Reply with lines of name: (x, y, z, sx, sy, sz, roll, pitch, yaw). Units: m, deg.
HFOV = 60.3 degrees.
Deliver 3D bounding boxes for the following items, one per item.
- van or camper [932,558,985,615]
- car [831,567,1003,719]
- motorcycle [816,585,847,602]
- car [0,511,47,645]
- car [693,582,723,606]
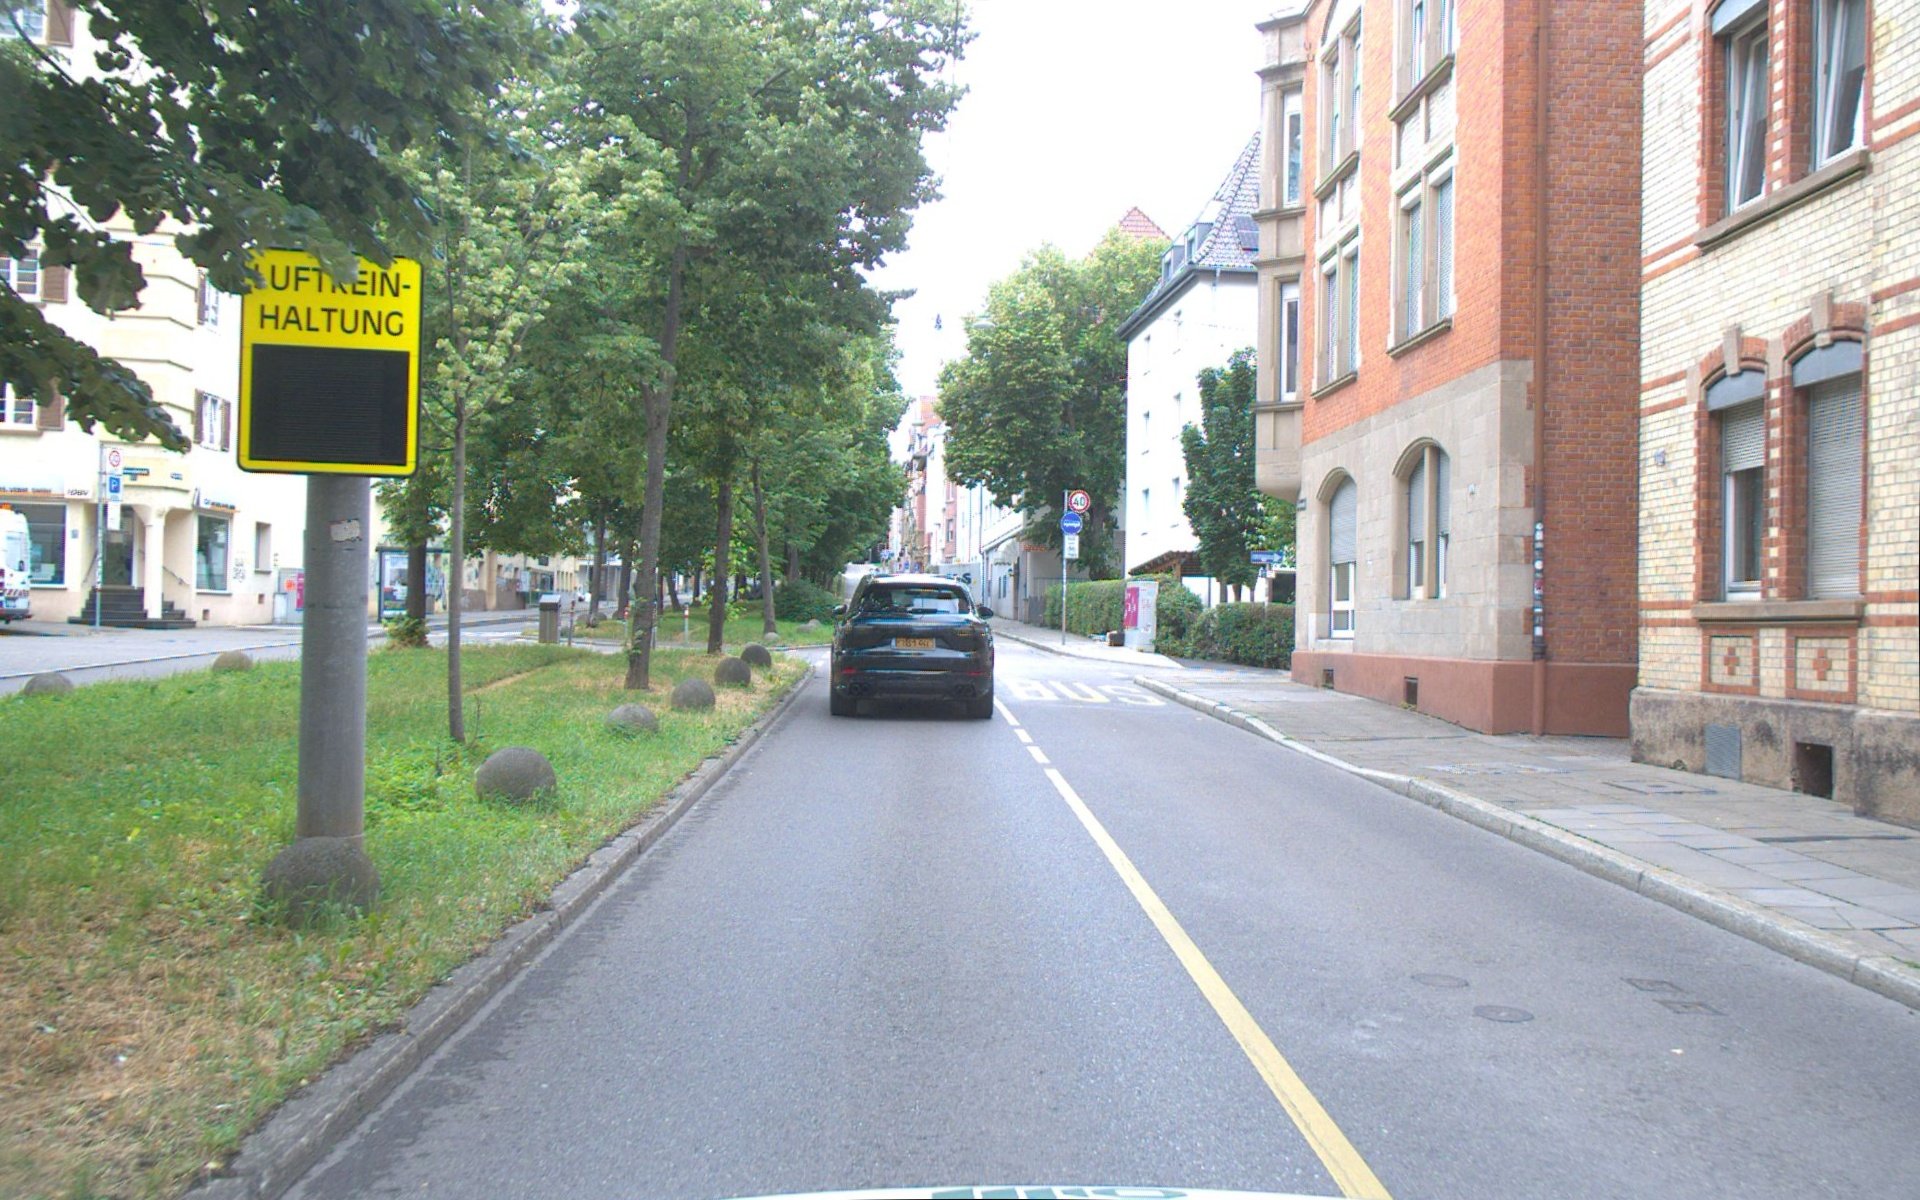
van or camper: (-0.142, -0.697, 88.570, 2.431, 2.852, 7.233, 1, 0, -3)
car: (-0.638, 0.490, 20.722, 1.866, 1.695, 4.131, 1, 0, -5)
motorcycle: (-9.905, -0.513, 127.394, 2.309, 1.257, 1.032, 1, 2, -6)
car: (-22.610, -0.549, 35.149, 5.081, 2.784, 2.171, 2, 0, -12)
car: (-19.583, -0.473, 128.814, 1.912, 1.656, 4.360, -6, 0, -5)
